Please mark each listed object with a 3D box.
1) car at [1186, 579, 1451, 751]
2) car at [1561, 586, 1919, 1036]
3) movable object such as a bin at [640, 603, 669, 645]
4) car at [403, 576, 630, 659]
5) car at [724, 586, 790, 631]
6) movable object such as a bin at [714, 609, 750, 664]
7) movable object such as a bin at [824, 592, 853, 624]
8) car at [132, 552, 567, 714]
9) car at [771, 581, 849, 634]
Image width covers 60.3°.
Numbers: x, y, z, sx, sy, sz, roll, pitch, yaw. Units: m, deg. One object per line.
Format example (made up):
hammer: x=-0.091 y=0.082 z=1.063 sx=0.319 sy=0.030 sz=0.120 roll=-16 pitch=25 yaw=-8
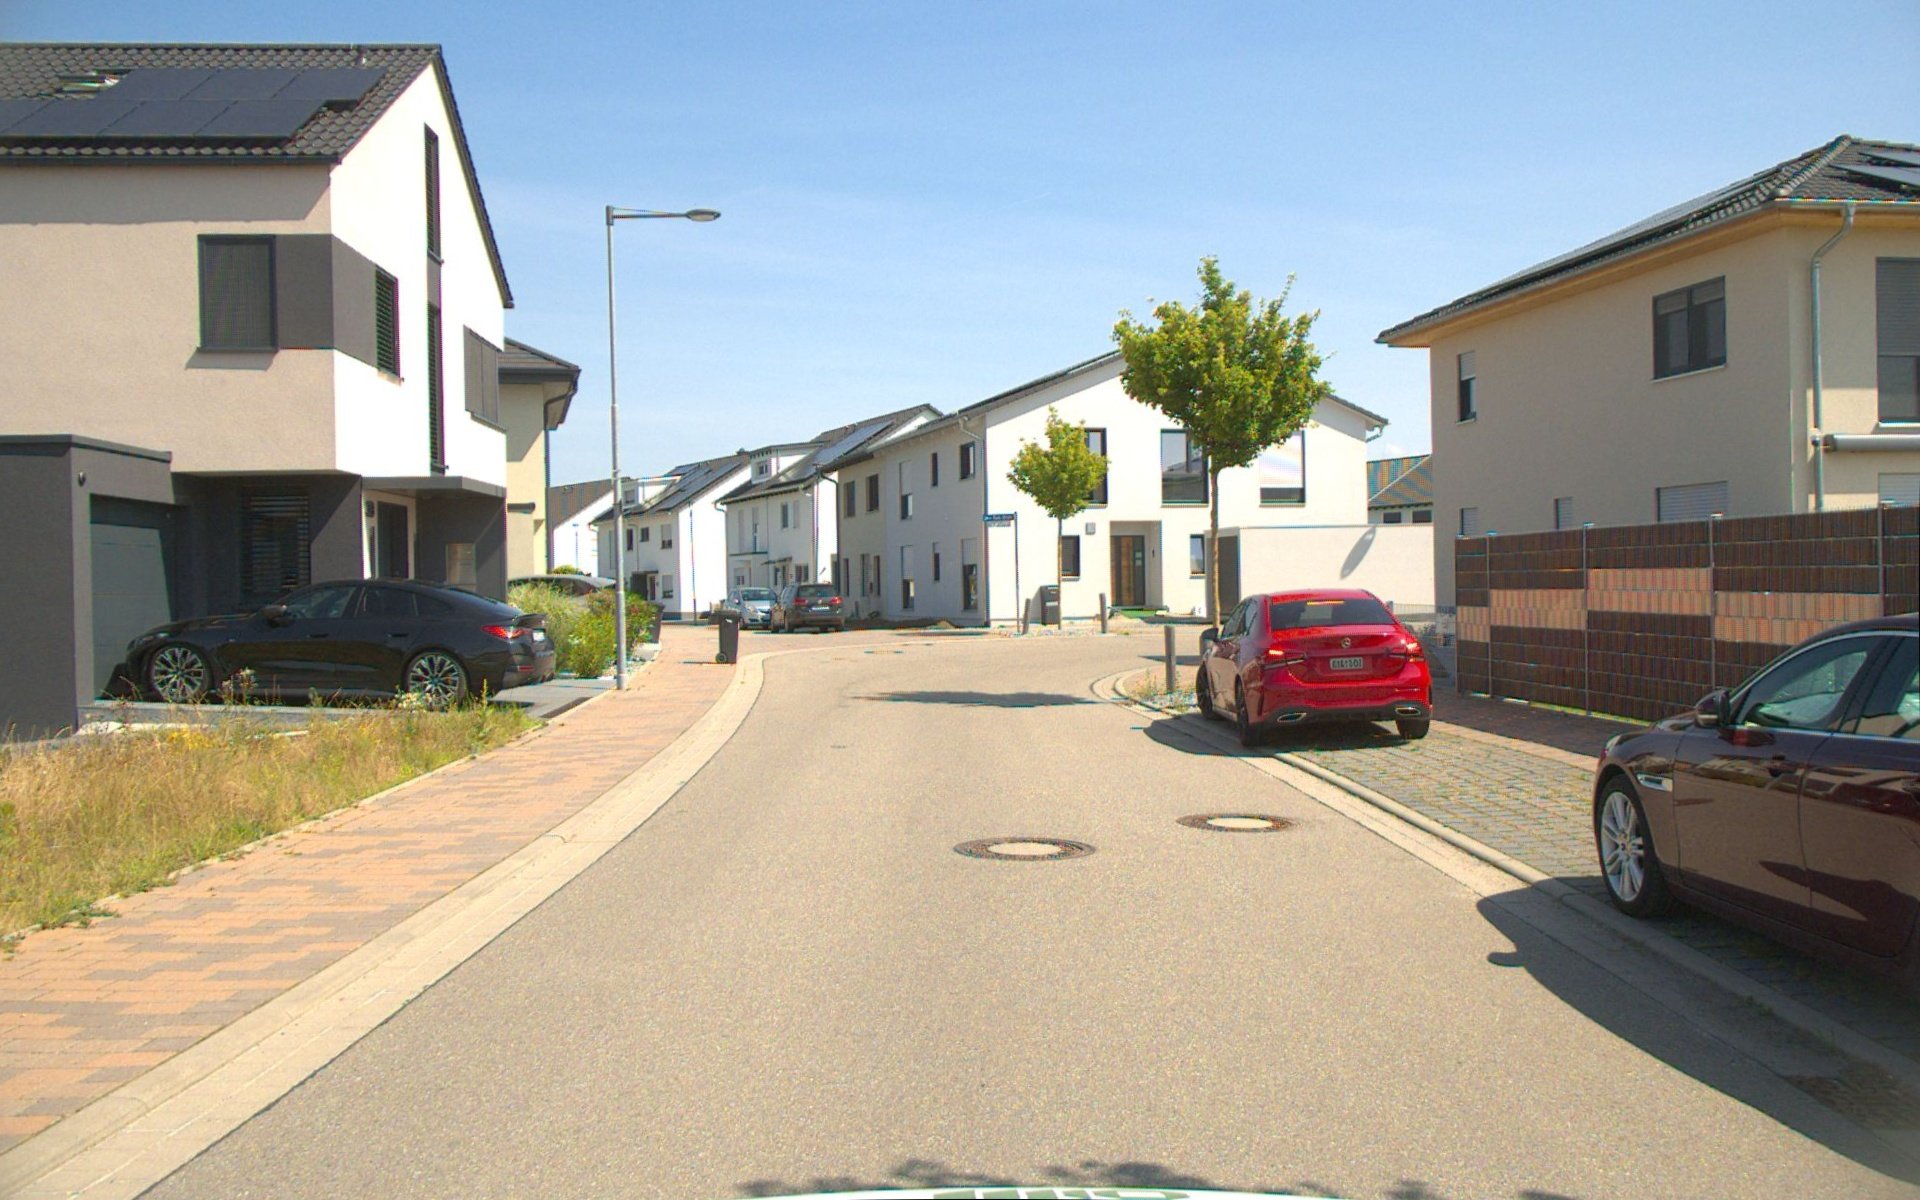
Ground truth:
car: x=3.513 y=0.562 z=17.042 sx=1.726 sy=1.463 sz=4.520 roll=-2 pitch=0 yaw=0
car: x=3.912 y=0.668 z=6.114 sx=1.718 sy=1.387 sz=4.576 roll=-2 pitch=0 yaw=0
movable object such as a bin: x=-6.977 y=0.552 z=37.779 sx=0.604 sy=0.943 sz=0.422 roll=2 pitch=-1 yaw=-13
car: x=-8.514 y=0.327 z=31.974 sx=3.906 sy=1.512 sz=1.754 roll=-1 pitch=0 yaw=-1
car: x=-7.231 y=0.300 z=58.599 sx=1.650 sy=1.489 sz=3.926 roll=-2 pitch=0 yaw=-17
movable object such as a bin: x=-4.042 y=0.640 z=29.328 sx=0.523 sy=0.952 sz=0.526 roll=1 pitch=0 yaw=6
movable object such as a bin: x=-4.338 y=0.286 z=59.013 sx=0.772 sy=1.068 sz=0.800 roll=-4 pitch=1 yaw=-19
car: x=-6.855 y=0.362 z=18.929 sx=4.288 sy=1.660 sz=1.770 roll=1 pitch=0 yaw=-3
car: x=-4.495 y=0.201 z=49.195 sx=1.698 sy=1.447 sz=3.985 roll=-2 pitch=0 yaw=-14
